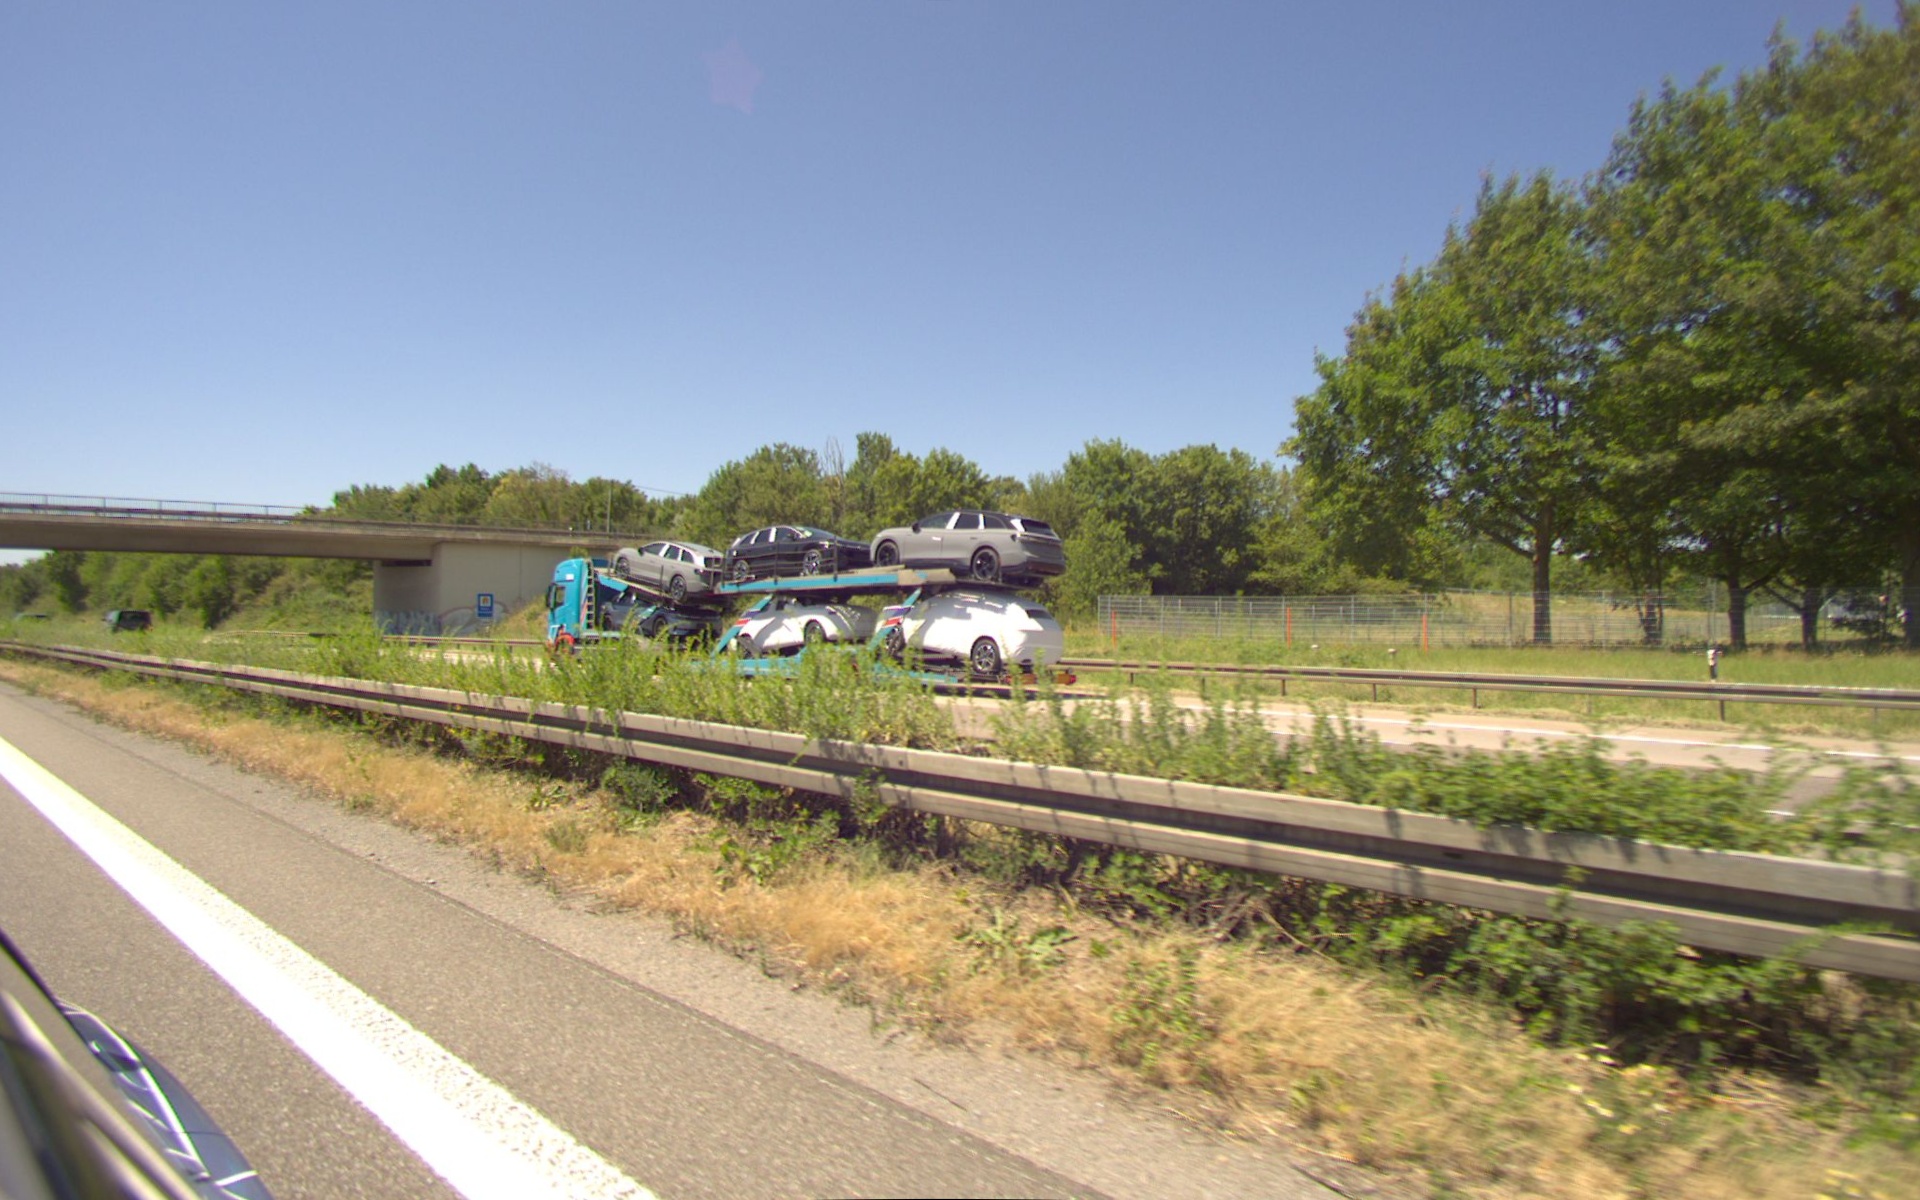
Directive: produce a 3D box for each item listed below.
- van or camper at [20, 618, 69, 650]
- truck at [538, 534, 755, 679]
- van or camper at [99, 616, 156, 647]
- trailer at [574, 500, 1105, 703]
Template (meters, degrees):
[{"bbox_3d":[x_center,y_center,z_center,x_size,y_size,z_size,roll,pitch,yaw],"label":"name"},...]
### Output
[{"bbox_3d":[-55.519,2.034,61.367,3.997,1.782,1.694,-1,1,41],"label":"van or camper"},{"bbox_3d":[-9.882,0.308,31.504,7.368,4.006,2.849,-1,-4,41],"label":"truck"},{"bbox_3d":[-52.351,1.987,63.609,4.453,1.884,1.973,-1,-3,40],"label":"van or camper"},{"bbox_3d":[-4.382,0.217,26.770,17.464,4.009,2.848,-1,-4,41],"label":"trailer"}]
